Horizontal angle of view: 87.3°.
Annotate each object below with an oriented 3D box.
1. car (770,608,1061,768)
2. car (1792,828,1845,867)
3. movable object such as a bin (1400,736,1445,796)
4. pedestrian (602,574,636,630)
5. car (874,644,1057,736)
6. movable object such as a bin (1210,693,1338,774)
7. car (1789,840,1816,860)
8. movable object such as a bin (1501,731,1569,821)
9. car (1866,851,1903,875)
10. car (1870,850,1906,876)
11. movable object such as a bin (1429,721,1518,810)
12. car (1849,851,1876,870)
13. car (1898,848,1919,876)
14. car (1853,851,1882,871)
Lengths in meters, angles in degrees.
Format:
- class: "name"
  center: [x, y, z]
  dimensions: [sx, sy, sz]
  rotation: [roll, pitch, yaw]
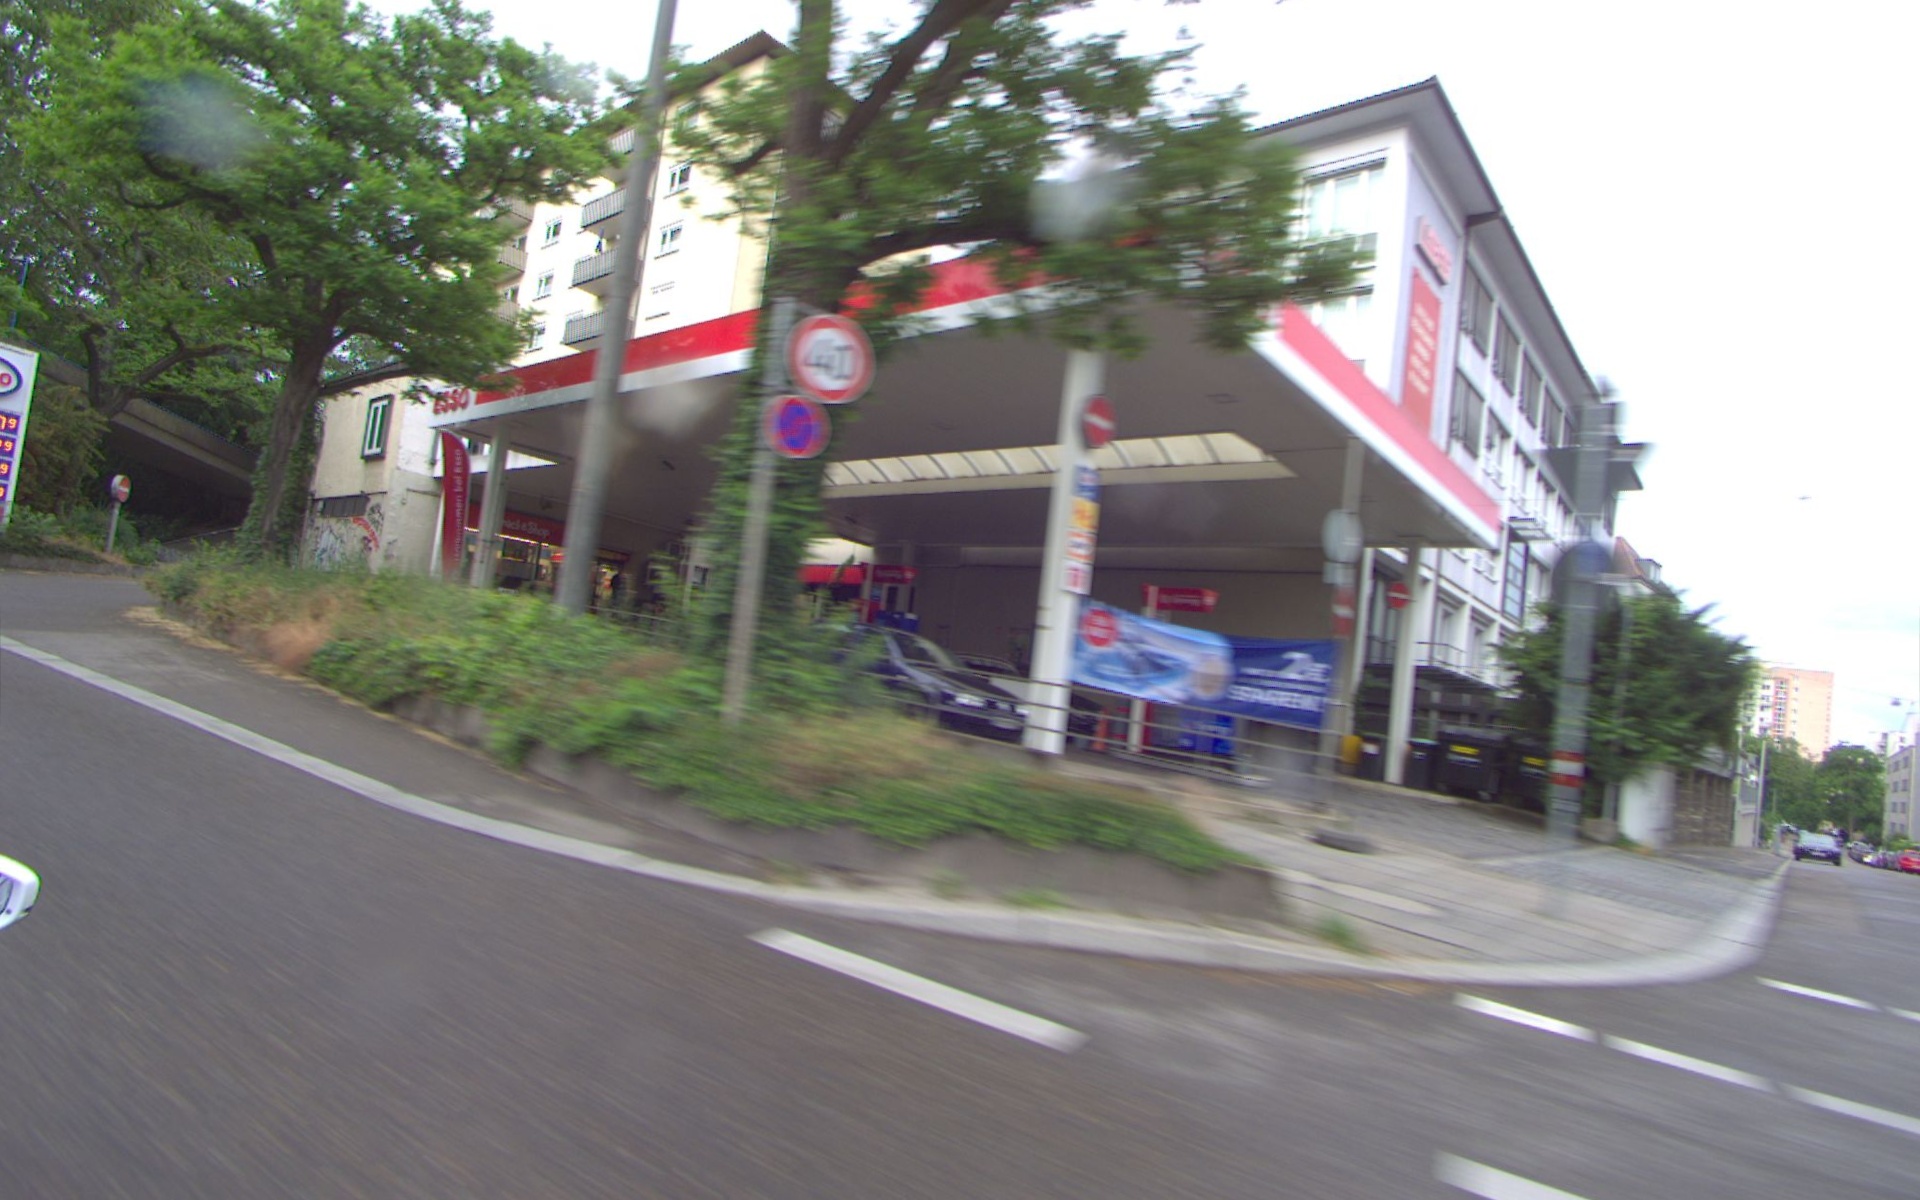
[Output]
- class: "car"
  center: [-0.715, 1.171, 14.044]
  dimensions: [3.816, 1.642, 1.770]
  rotation: [5, -3, 44]
- class: "car"
  center: [43.758, 12.602, 51.349]
  dimensions: [1.774, 1.524, 4.494]
  rotation: [5, -8, 39]
- class: "movable object such as a bin"
  center: [9.892, 3.551, 21.516]
  dimensions: [0.651, 1.153, 0.453]
  rotation: [7, -3, 41]
- class: "pedestrian"
  center: [-12.433, 0.085, 36.730]
  dimensions: [0.660, 1.888, 0.689]
  rotation: [9, -5, 3]
- class: "car"
  center: [0.081, 2.101, 23.846]
  dimensions: [3.945, 1.524, 1.797]
  rotation: [5, -7, 41]
- class: "movable object such as a bin"
  center: [7.404, 3.146, 23.807]
  dimensions: [2.472, 1.441, 1.163]
  rotation: [7, -4, 41]
- class: "car"
  center: [83.496, 24.770, 99.713]
  dimensions: [1.774, 1.524, 4.494]
  rotation: [5, -8, 39]
- class: "movable object such as a bin"
  center: [11.438, 3.495, 20.008]
  dimensions: [0.900, 1.582, 0.764]
  rotation: [7, -3, 40]
- class: "car"
  center: [73.628, 20.933, 80.168]
  dimensions: [1.774, 1.524, 3.995]
  rotation: [5, -7, 39]
- class: "car"
  center: [68.554, 19.424, 74.341]
  dimensions: [1.776, 1.524, 3.991]
  rotation: [5, -8, 42]
- class: "movable object such as a bin"
  center: [10.586, 3.404, 20.748]
  dimensions: [1.341, 1.582, 0.764]
  rotation: [7, -3, 41]
- class: "car"
  center: [94.745, 27.377, 105.672]
  dimensions: [1.774, 1.524, 3.995]
  rotation: [5, -7, 39]
- class: "car"
  center: [60.803, 16.689, 63.660]
  dimensions: [1.774, 1.524, 3.995]
  rotation: [5, -7, 40]
- class: "car"
  center: [89.680, 25.817, 99.422]
  dimensions: [1.774, 1.524, 3.995]
  rotation: [5, -7, 39]
